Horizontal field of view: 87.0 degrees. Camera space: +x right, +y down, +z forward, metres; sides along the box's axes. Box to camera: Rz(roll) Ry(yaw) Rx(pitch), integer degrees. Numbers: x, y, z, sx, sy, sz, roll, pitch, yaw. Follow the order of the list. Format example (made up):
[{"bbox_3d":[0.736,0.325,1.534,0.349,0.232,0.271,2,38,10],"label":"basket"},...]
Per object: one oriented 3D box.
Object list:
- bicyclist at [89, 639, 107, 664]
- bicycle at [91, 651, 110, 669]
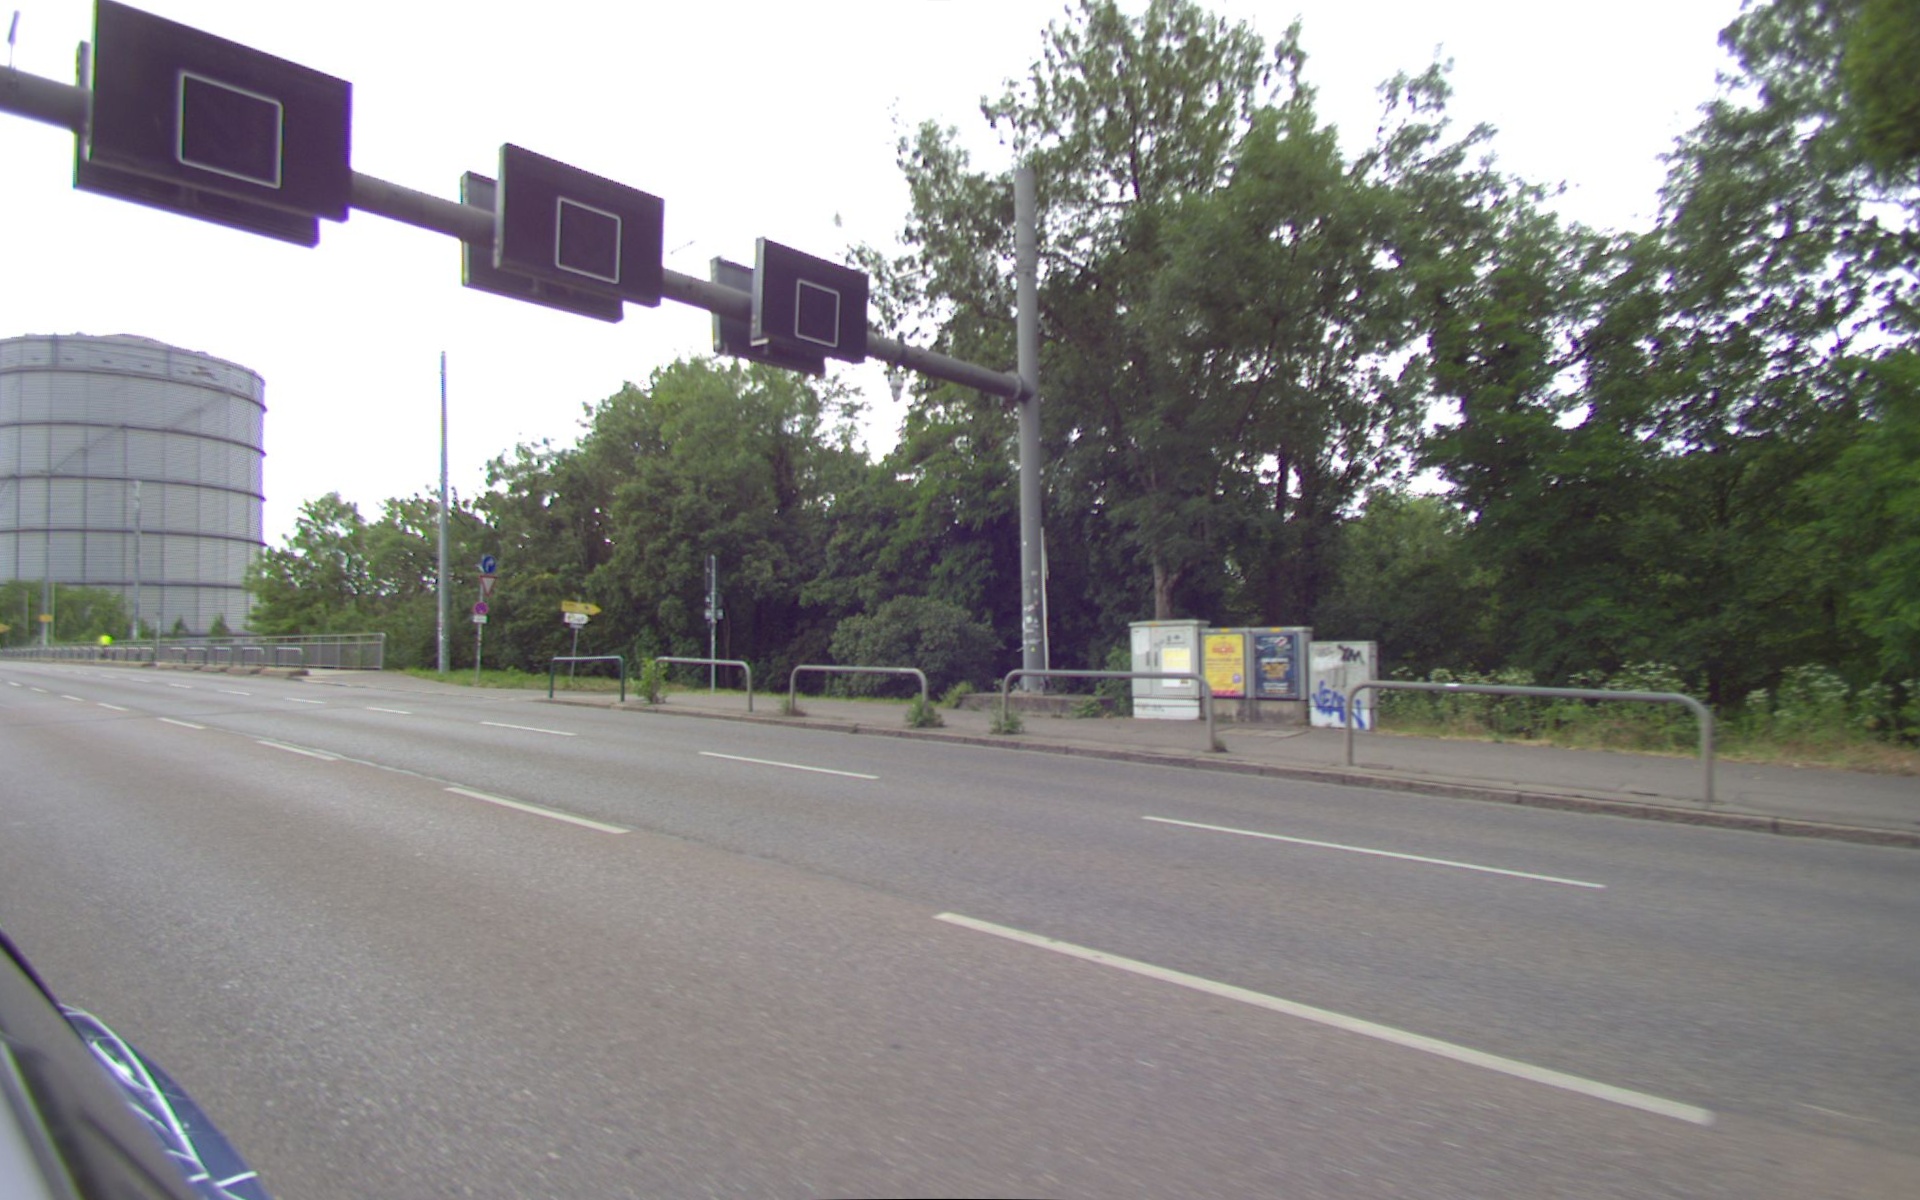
[{"bbox_3d":[-54.799,3.270,64.344,0.670,1.486,0.619,-3,4,44],"label":"bicyclist"},{"bbox_3d":[-54.717,3.815,64.406,1.983,1.071,0.628,-3,5,44],"label":"bicycle"}]
